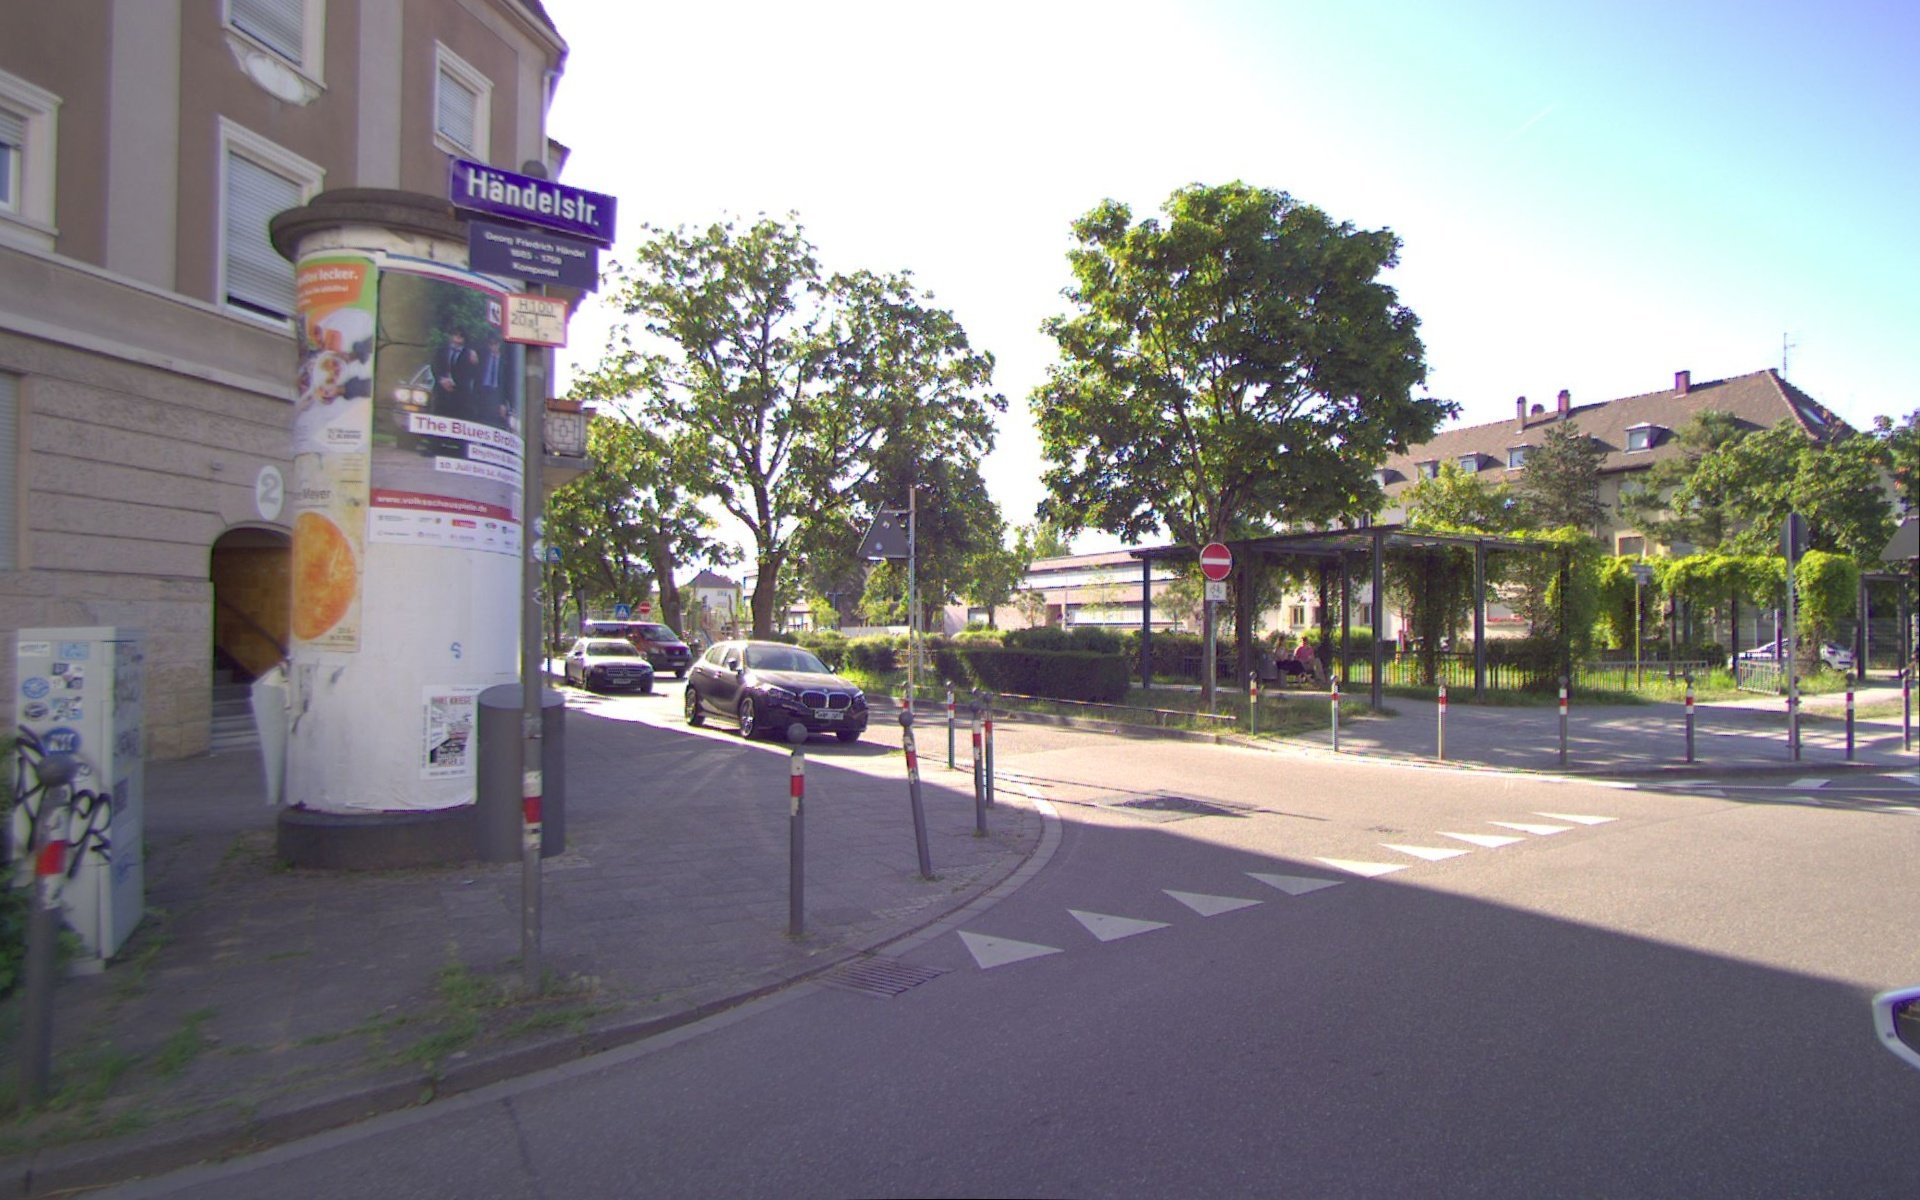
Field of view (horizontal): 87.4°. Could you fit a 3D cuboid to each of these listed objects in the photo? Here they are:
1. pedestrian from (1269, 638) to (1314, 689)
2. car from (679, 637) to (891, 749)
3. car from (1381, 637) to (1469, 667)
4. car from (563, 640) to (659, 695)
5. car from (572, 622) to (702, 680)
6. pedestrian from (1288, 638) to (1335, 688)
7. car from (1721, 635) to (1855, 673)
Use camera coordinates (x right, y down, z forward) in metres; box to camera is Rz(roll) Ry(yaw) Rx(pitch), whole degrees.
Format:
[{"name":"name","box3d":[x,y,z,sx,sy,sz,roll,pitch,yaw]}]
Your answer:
[{"name":"pedestrian","box3d":[7.862,1.495,23.823,0.592,1.164,0.840,1,-2,-30]},{"name":"car","box3d":[-2.859,1.379,15.701,1.848,1.502,3.980,5,-4,-32]},{"name":"car","box3d":[24.647,2.769,53.390,1.780,1.514,3.968,2,-3,-30]},{"name":"car","box3d":[-10.058,1.897,28.786,1.664,1.434,3.869,5,-4,-33]},{"name":"car","box3d":[-11.796,1.820,36.584,4.804,1.986,1.892,-1,-3,34]},{"name":"pedestrian","box3d":[8.448,1.504,24.153,0.592,1.153,0.868,1,-2,-30]},{"name":"car","box3d":[32.652,2.132,39.717,1.687,1.416,3.746,2,-3,-31]}]
